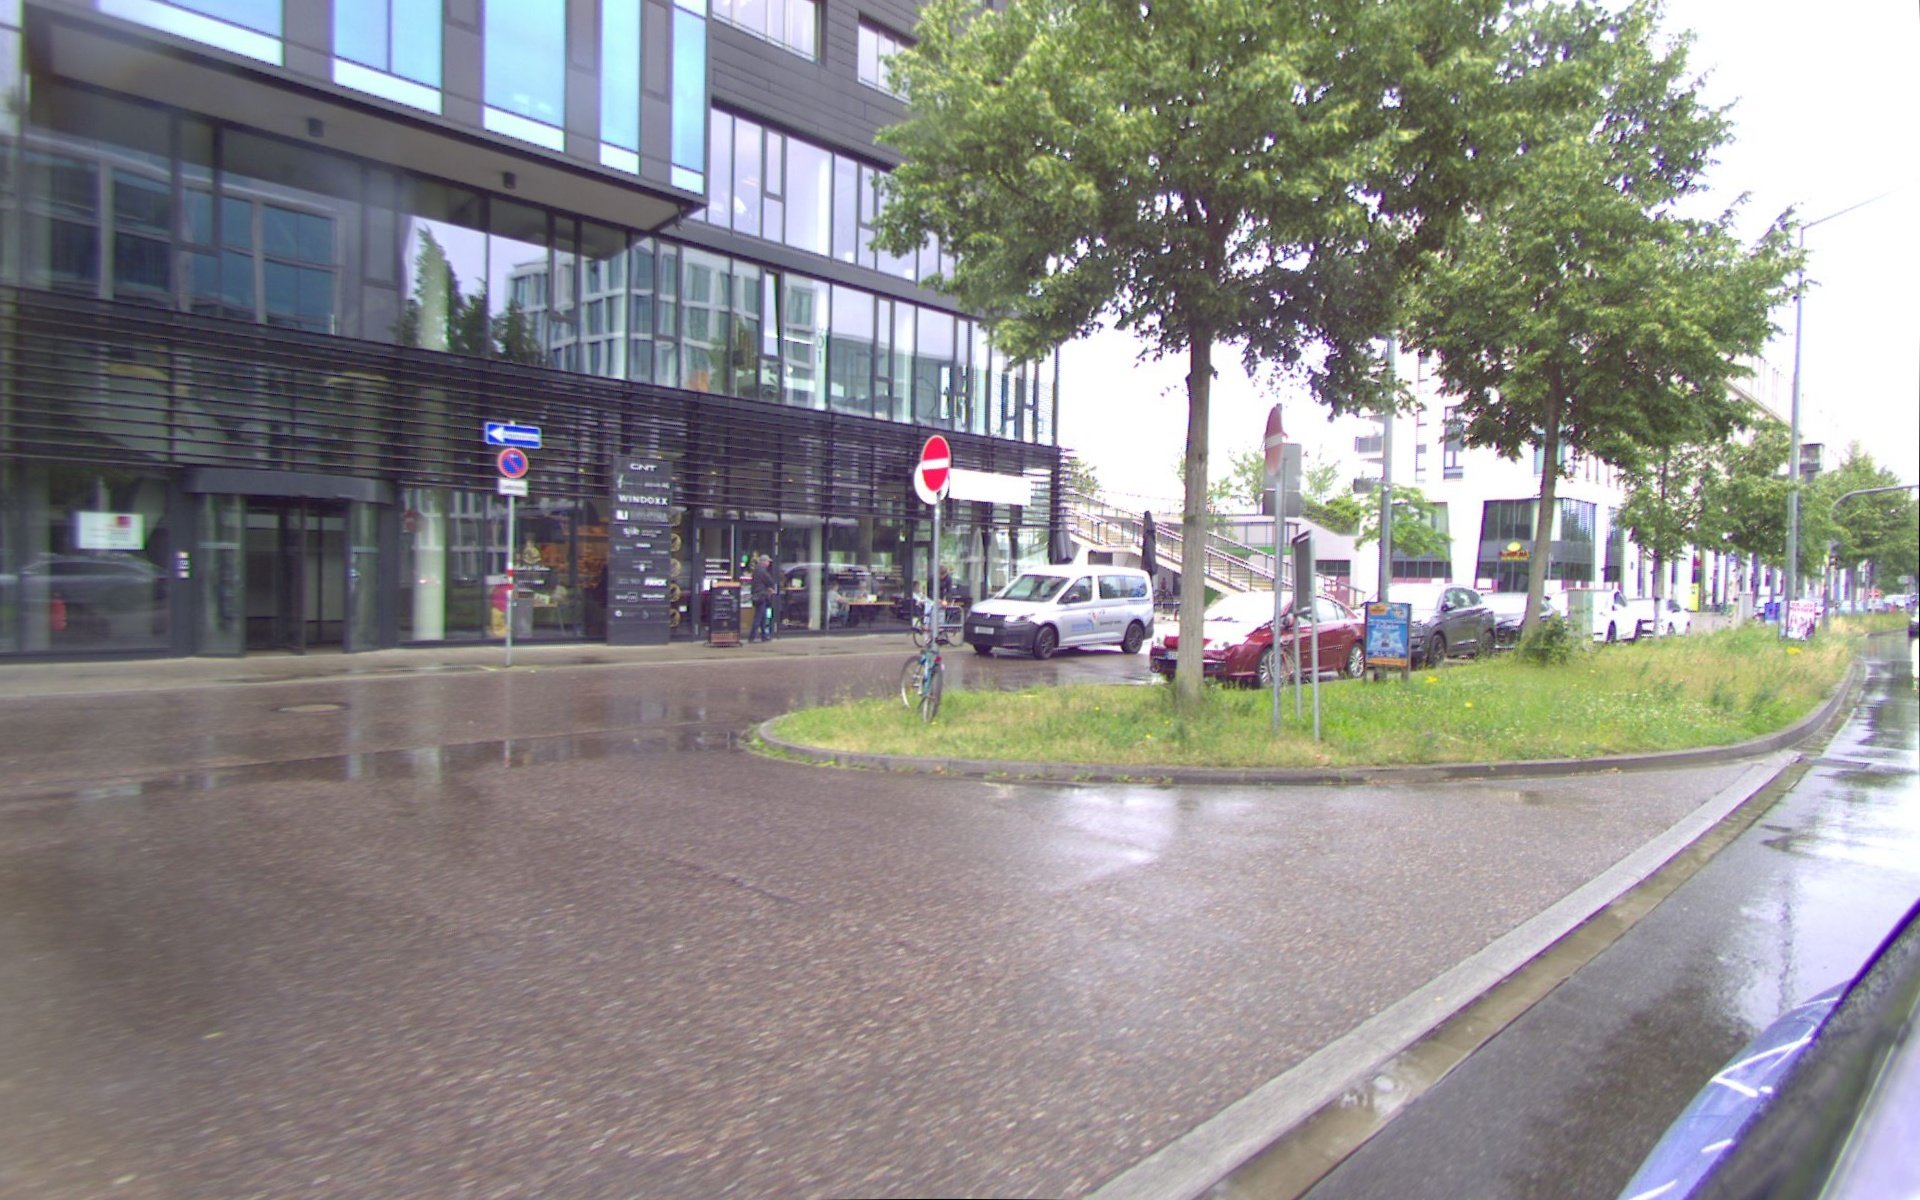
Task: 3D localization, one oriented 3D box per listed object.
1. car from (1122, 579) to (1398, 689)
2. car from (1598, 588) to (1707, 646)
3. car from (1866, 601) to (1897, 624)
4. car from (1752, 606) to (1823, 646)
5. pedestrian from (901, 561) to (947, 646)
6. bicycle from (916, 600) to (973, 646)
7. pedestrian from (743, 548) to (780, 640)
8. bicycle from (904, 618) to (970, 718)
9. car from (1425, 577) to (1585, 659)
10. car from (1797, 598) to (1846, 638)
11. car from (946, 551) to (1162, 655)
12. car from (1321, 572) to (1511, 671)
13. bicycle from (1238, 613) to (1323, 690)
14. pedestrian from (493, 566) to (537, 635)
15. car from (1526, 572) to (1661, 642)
[{"bbox_3d":[4.917,0.456,16.171,4.875,1.473,1.996,0,1,-43],"label":"car"},{"bbox_3d":[22.867,0.580,33.335,4.757,1.729,1.996,3,0,-44],"label":"car"},{"bbox_3d":[69.504,0.940,76.325,1.638,1.608,3.867,2,0,43],"label":"car"},{"bbox_3d":[39.330,1.240,48.056,4.757,1.729,1.996,3,0,-44],"label":"car"},{"bbox_3d":[-0.763,0.075,21.222,0.625,1.727,0.647,2,-1,42],"label":"pedestrian"},{"bbox_3d":[-0.314,0.480,20.934,0.436,0.909,1.212,2,-1,43],"label":"bicycle"},{"bbox_3d":[-4.095,-0.124,20.928,0.499,1.856,0.575,2,-1,11],"label":"pedestrian"},{"bbox_3d":[-0.260,0.678,10.591,0.424,0.929,1.464,3,0,-10],"label":"bicycle"},{"bbox_3d":[13.023,0.454,24.048,4.644,1.729,1.996,3,0,-44],"label":"car"},{"bbox_3d":[47.421,1.008,55.690,1.910,2.039,3.938,2,0,42],"label":"car"},{"bbox_3d":[2.027,0.045,20.729,1.894,1.889,4.647,2,1,44],"label":"car"},{"bbox_3d":[9.129,0.427,20.100,4.146,1.729,1.996,3,0,-44],"label":"car"},{"bbox_3d":[4.076,0.632,12.778,0.570,0.873,1.892,2,0,31],"label":"bicycle"},{"bbox_3d":[-8.327,0.005,18.944,0.571,1.253,0.450,3,-1,-1],"label":"pedestrian"},{"bbox_3d":[17.465,0.228,27.791,4.757,1.729,1.996,3,0,-44],"label":"car"}]
